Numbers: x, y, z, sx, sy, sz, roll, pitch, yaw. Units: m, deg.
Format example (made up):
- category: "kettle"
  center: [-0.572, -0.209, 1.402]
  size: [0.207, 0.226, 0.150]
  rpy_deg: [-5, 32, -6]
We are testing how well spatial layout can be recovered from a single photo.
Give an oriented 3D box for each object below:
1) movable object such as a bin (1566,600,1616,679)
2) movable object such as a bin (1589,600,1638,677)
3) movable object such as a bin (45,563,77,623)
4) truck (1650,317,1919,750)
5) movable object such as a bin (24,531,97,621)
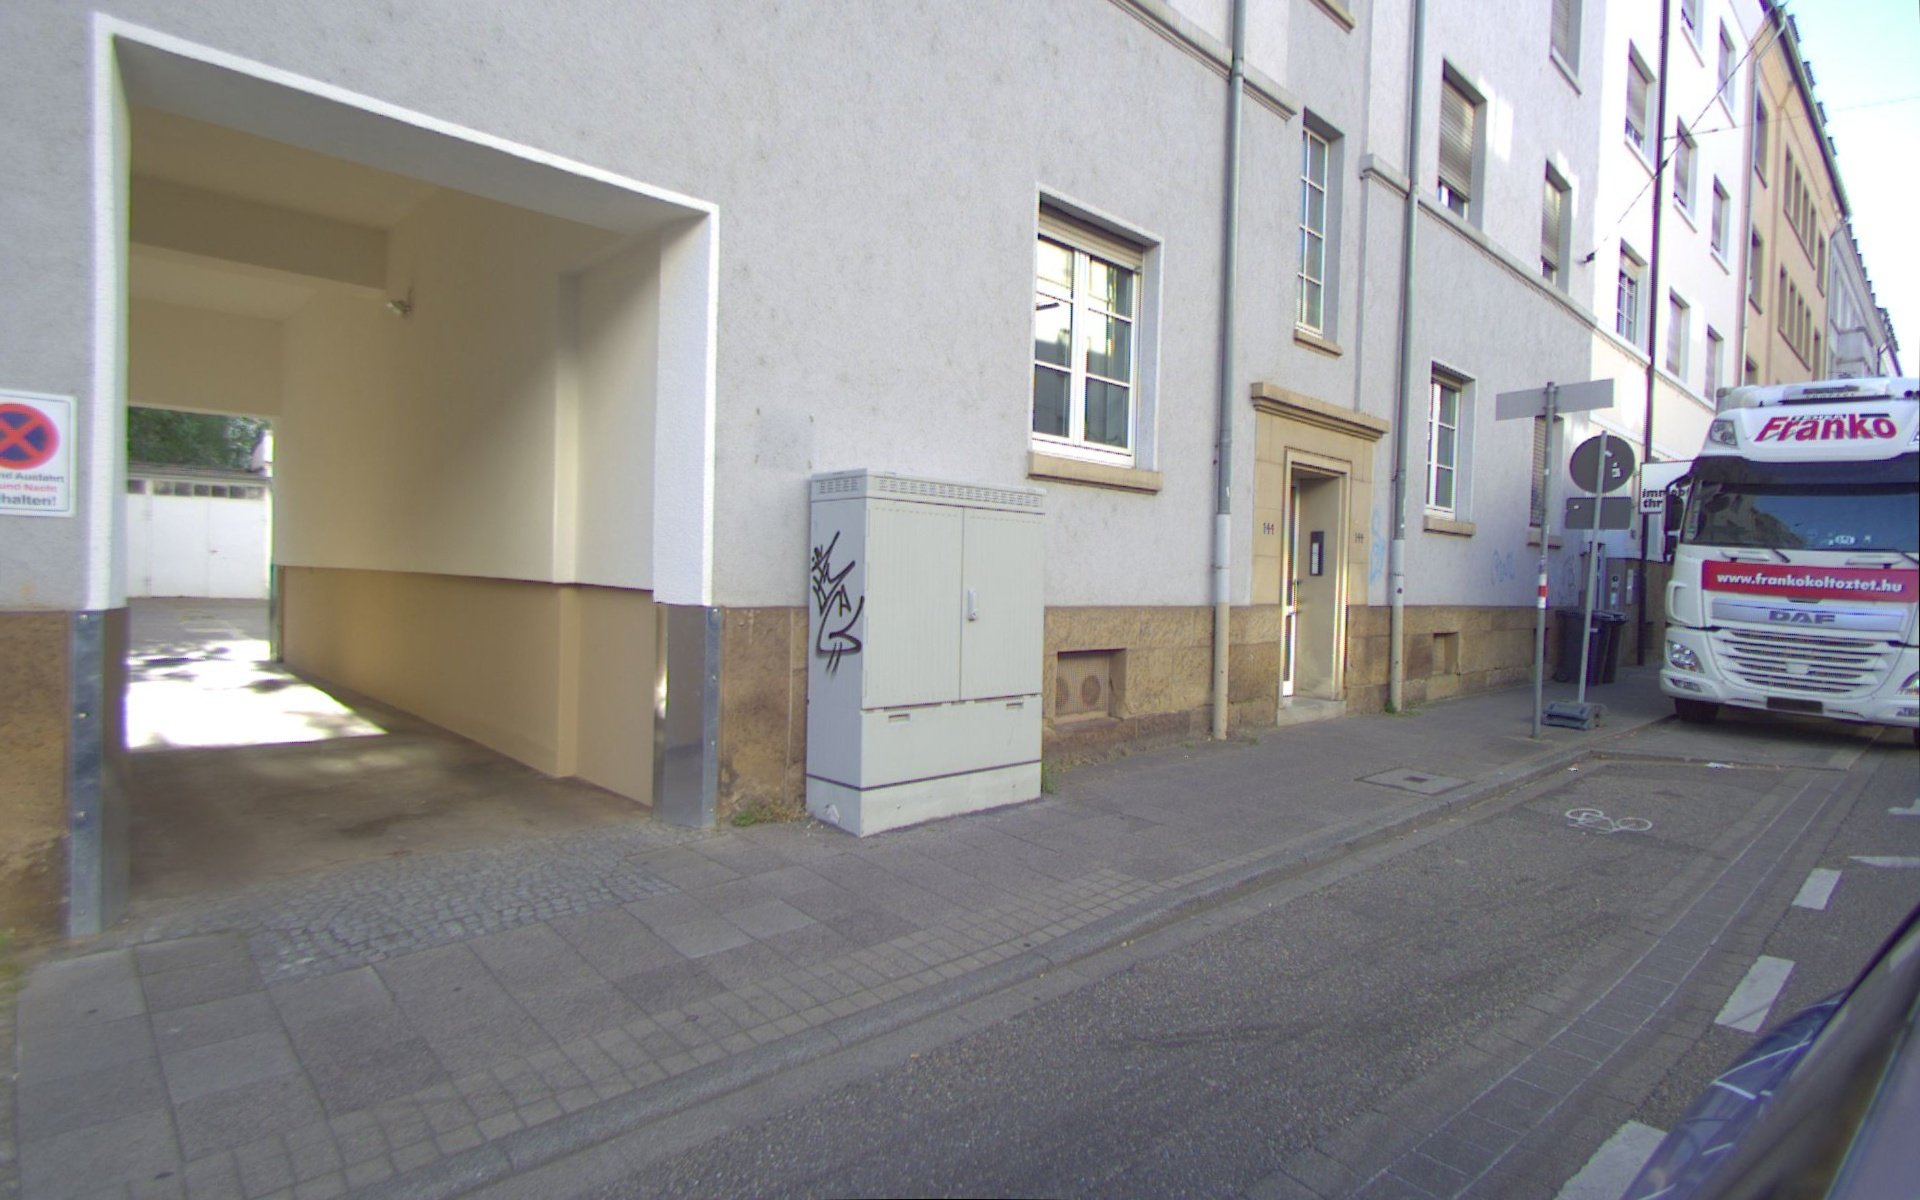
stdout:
- category: "movable object such as a bin"
  center: [9.093, 0.554, 14.582]
  size: [0.511, 1.106, 0.488]
  rpy_deg: [0, 0, 45]
- category: "movable object such as a bin"
  center: [9.653, 0.556, 14.945]
  size: [0.511, 1.106, 0.488]
  rpy_deg: [0, 0, 45]
- category: "movable object such as a bin"
  center: [-14.339, -0.116, 16.143]
  size: [0.366, 0.919, 0.420]
  rpy_deg: [0, 3, -44]
- category: "truck"
  center: [12.595, -0.608, 13.845]
  size: [11.511, 4.012, 2.894]
  rpy_deg: [0, 0, -44]
- category: "movable object such as a bin"
  center: [-14.766, -0.402, 16.618]
  size: [0.874, 1.409, 0.758]
  rpy_deg: [0, 4, -44]
